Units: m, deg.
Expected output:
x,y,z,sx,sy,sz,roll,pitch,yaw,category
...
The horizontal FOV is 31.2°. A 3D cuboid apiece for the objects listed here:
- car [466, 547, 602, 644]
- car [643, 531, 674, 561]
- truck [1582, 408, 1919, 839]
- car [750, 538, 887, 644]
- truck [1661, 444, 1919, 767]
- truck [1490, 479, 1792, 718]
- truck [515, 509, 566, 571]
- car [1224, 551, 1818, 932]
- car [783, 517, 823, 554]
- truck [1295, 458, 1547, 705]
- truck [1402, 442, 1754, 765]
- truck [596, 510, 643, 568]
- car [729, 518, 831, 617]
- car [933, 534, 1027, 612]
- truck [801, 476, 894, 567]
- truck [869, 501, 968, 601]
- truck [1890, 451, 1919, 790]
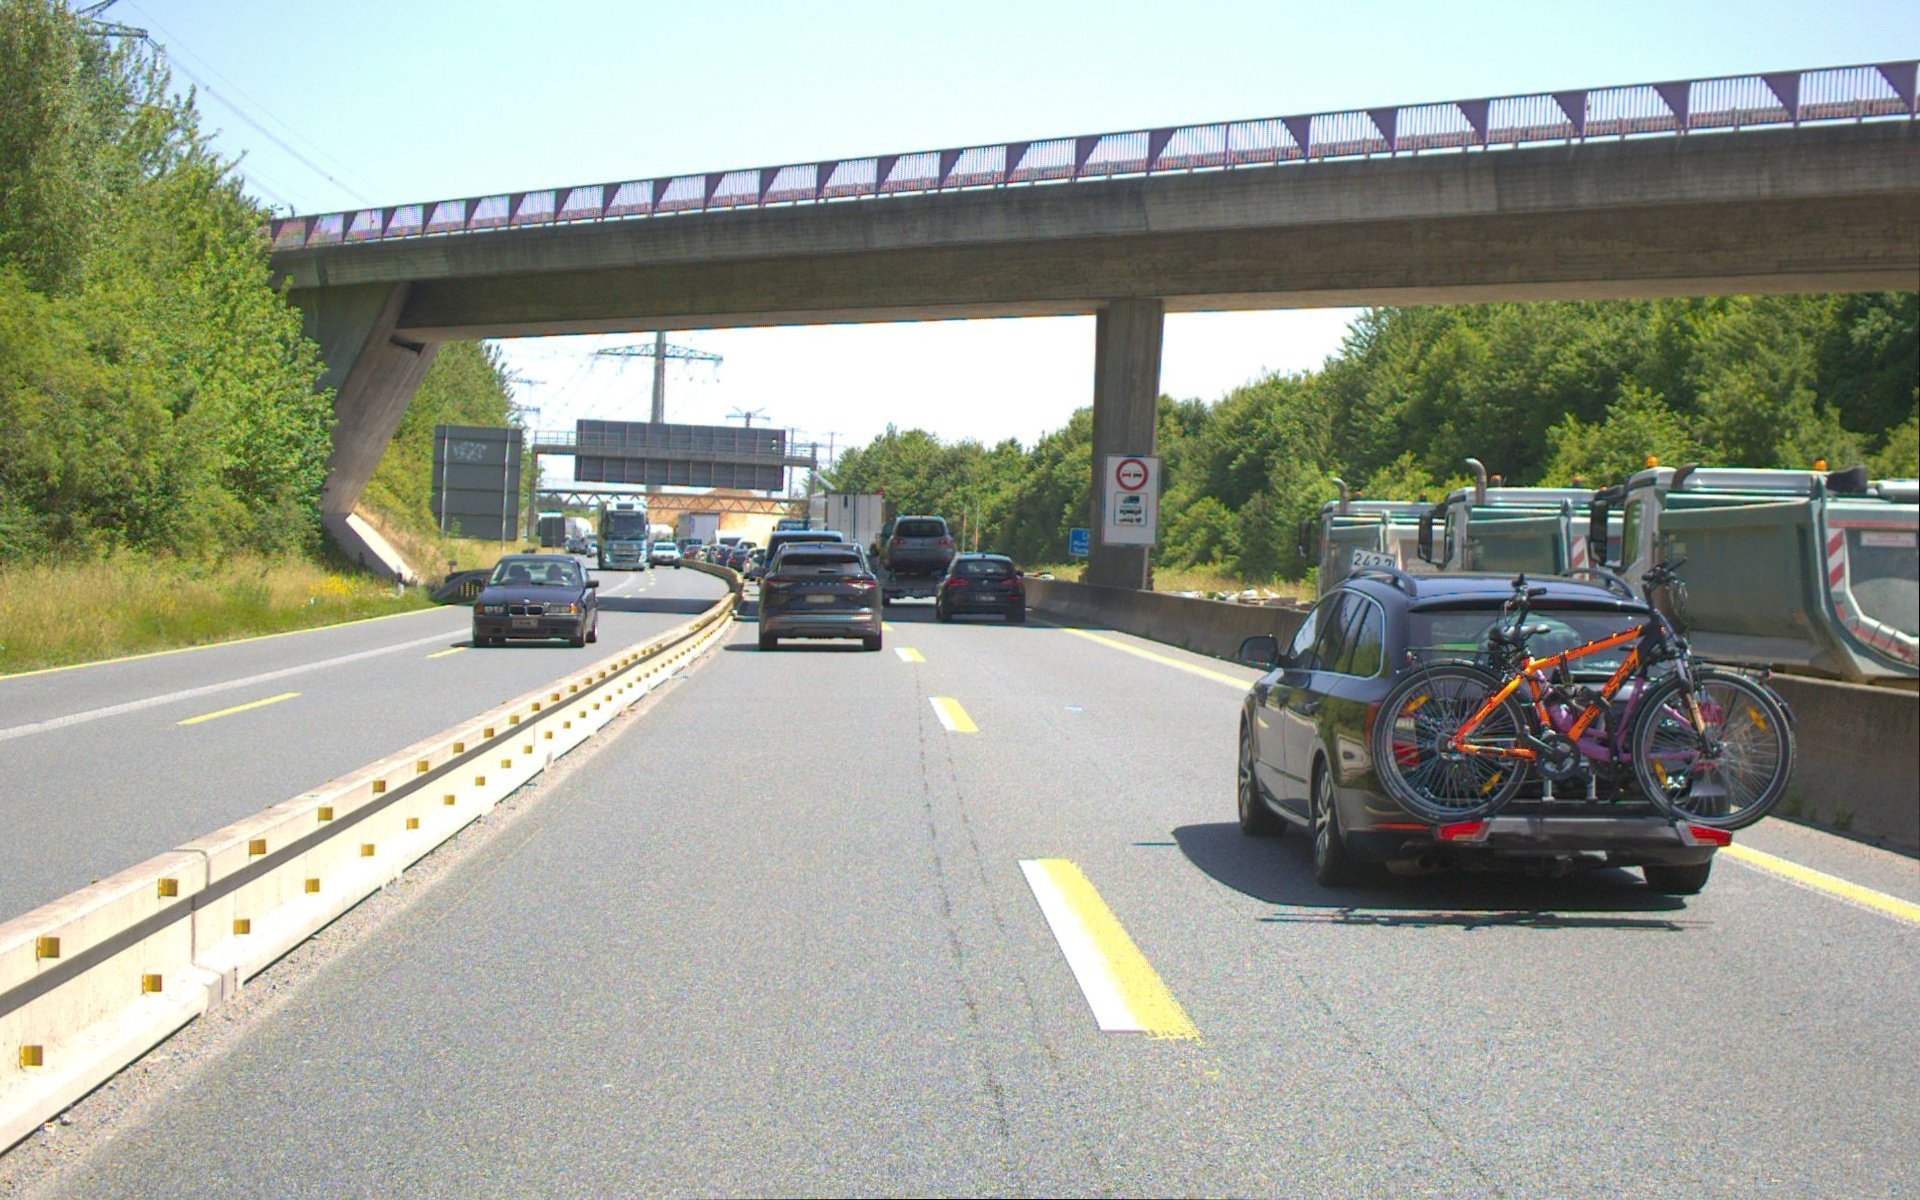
x,y,z,sx,sy,sz,roll,pitch,yaw,category
-6.492,-0.083,52.678,1.673,1.388,4.071,1,0,-2,car
-18.791,-3.340,214.072,1.762,1.831,4.001,1,0,-6,car
8.651,0.144,34.714,2.687,3.748,9.326,1,1,-2,truck
-2.098,-0.155,51.992,1.899,1.500,4.276,1,1,0,car
11.542,0.008,44.323,2.687,3.714,9.326,1,1,-2,truck
10.958,-0.103,56.347,2.687,3.545,9.326,1,1,-2,truck
-22.394,-3.190,183.652,2.508,3.175,10.112,1,1,-6,truck
2.438,0.546,16.252,1.899,1.485,4.948,1,0,-1,car
-8.577,-3.526,187.625,1.899,1.962,4.277,1,1,-5,car
7.713,-0.369,58.797,2.687,3.830,9.326,1,1,-2,truck
8.058,-0.033,46.163,2.687,3.843,9.326,1,1,-2,truck
-19.691,-3.524,198.570,2.508,3.175,10.112,1,1,-6,truck
-3.752,-0.692,72.179,1.899,1.962,4.276,1,1,0,car
0.391,-0.593,73.328,1.899,1.580,4.276,1,1,-1,car
-5.050,-3.453,152.260,3.292,3.832,10.112,1,1,-6,truck
-1.177,-1.351,92.938,2.405,2.549,7.501,1,1,-2,truck
11.530,0.302,32.251,2.687,3.545,9.326,1,1,-2,truck
